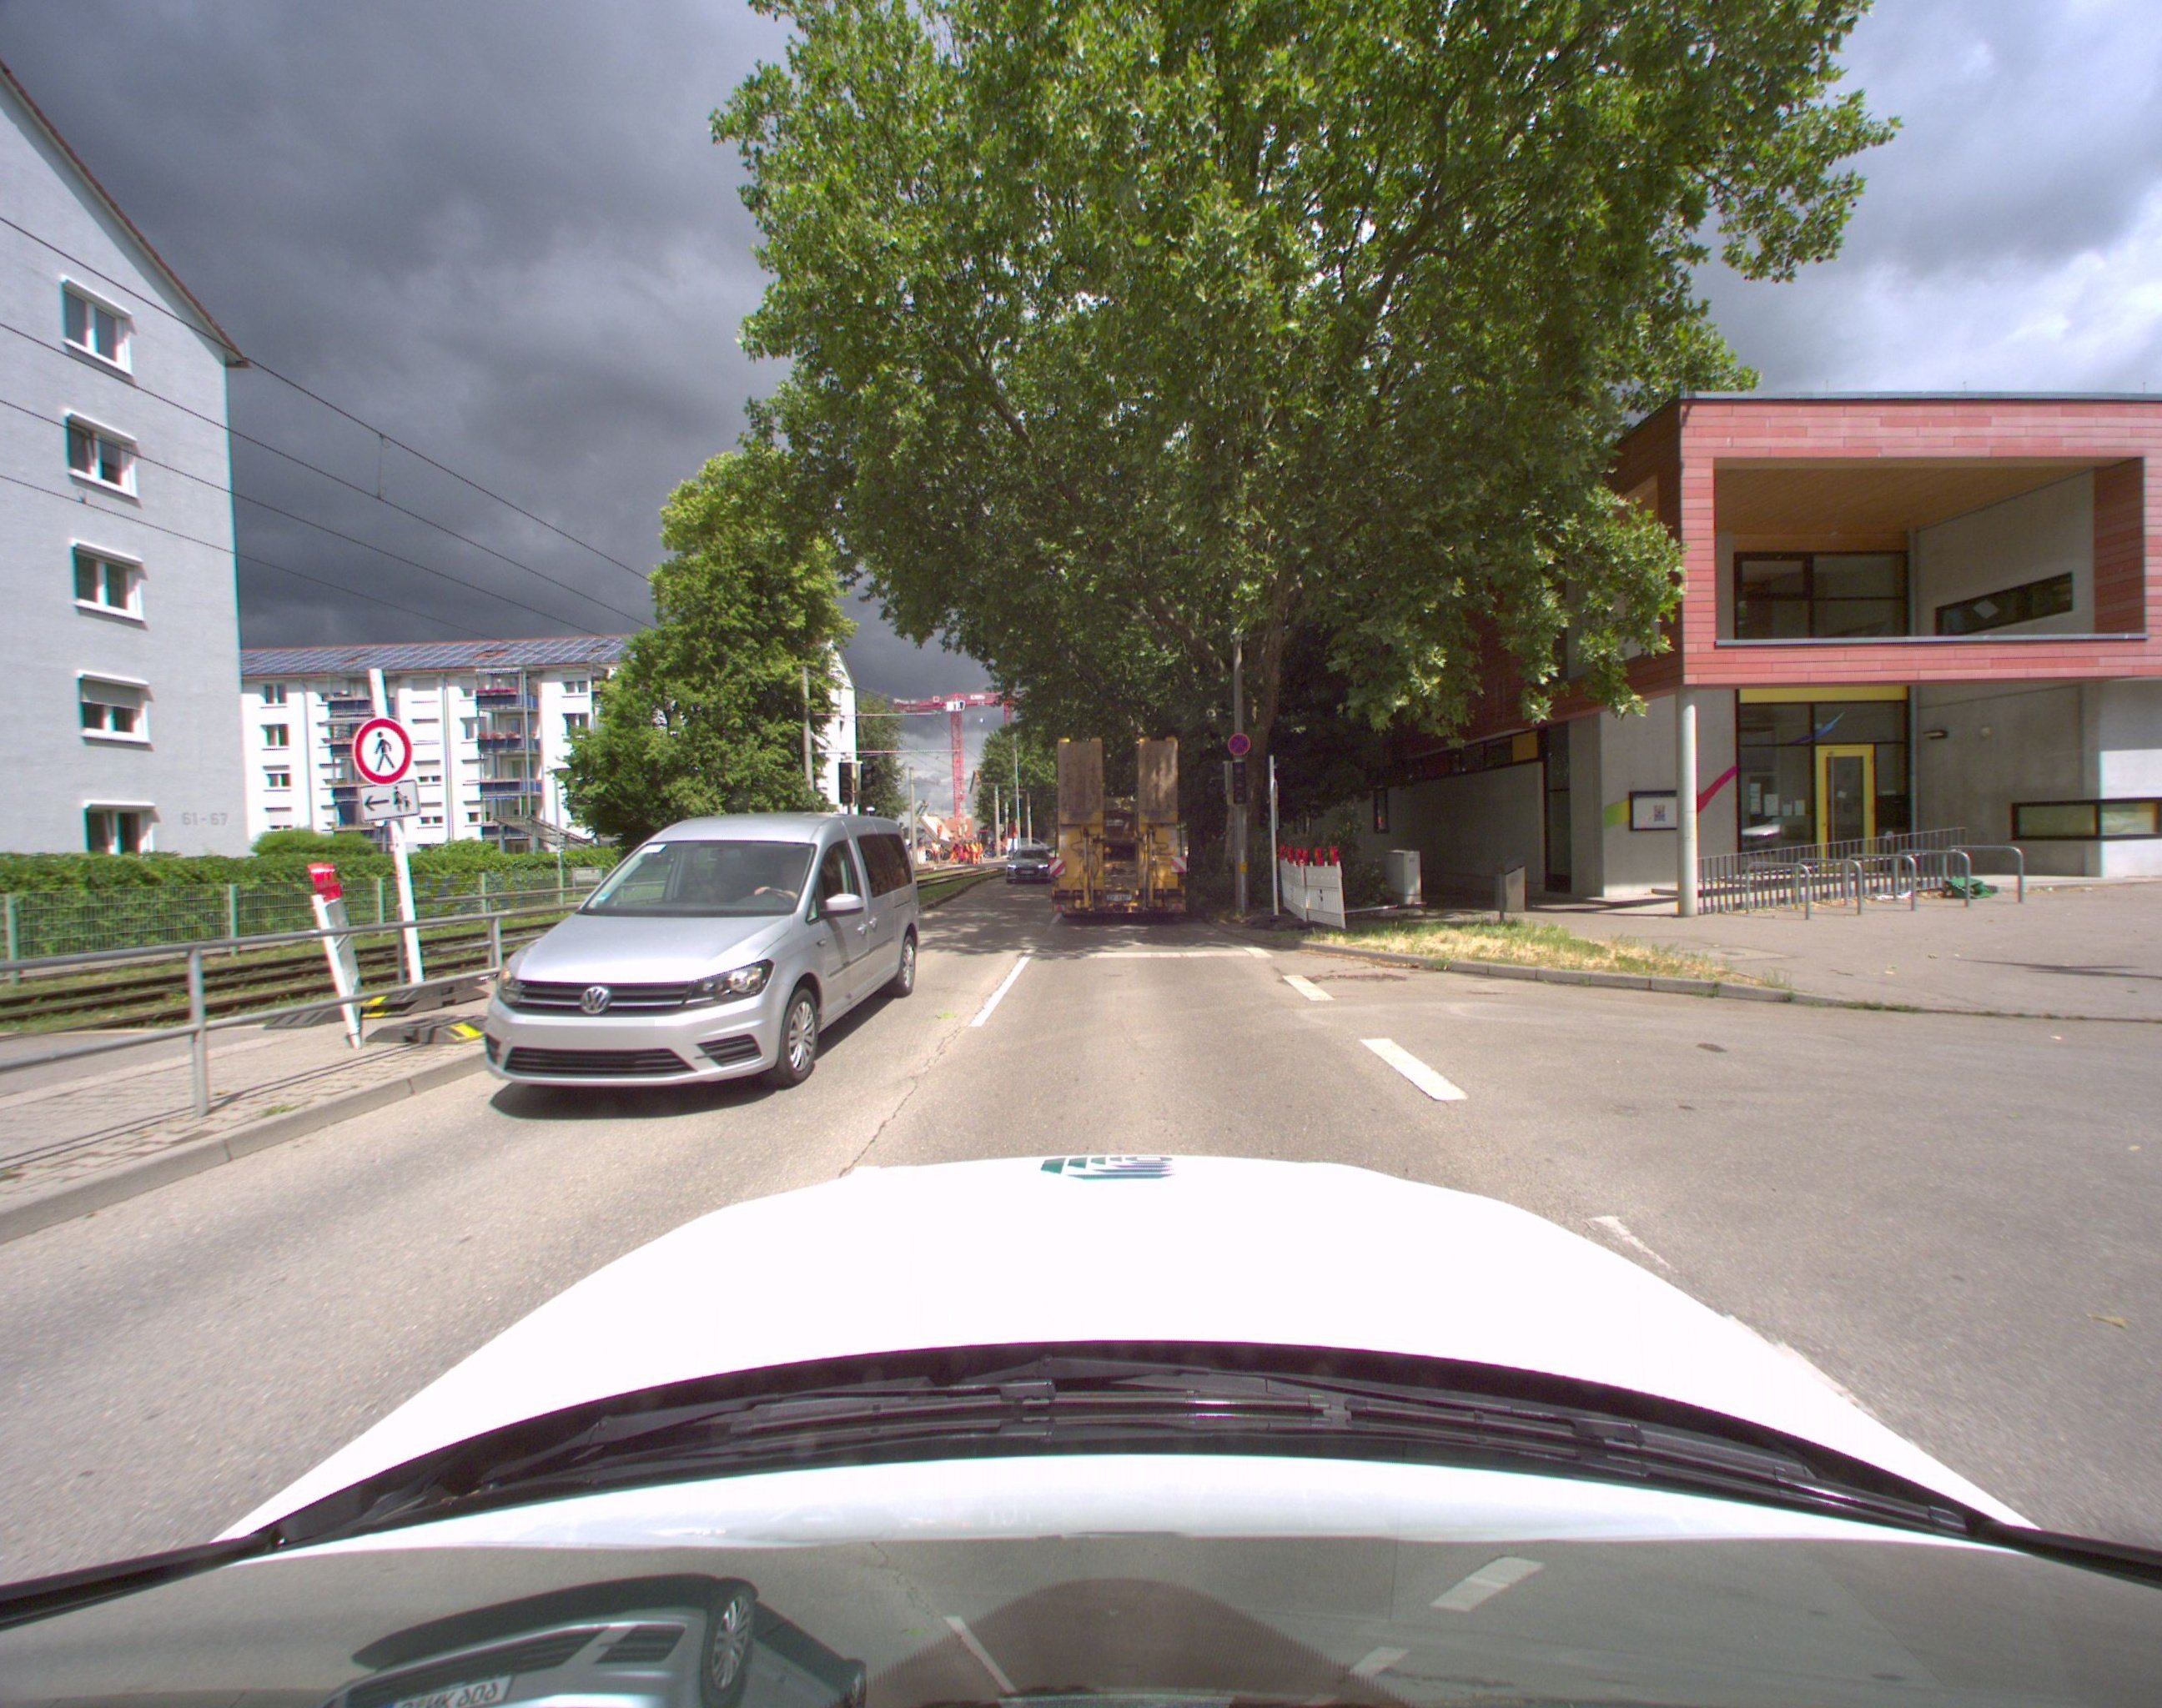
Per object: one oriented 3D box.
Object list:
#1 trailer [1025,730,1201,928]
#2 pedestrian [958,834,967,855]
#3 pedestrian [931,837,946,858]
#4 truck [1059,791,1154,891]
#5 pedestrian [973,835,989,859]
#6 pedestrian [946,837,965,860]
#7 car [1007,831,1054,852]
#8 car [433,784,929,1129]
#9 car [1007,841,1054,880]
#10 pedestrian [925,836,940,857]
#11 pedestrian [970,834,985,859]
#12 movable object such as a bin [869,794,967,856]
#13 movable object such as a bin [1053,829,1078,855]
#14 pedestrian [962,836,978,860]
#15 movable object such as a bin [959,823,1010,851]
[{"bbox_3d":[0.688,-0.522,20.370,3.143,3.552,11.099,-1,1,1],"label":"trailer"},{"bbox_3d":[-11.079,-0.885,76.053,0.834,1.867,0.885,-1,1,-10],"label":"pedestrian"},{"bbox_3d":[-11.169,-0.526,63.970,0.892,1.645,0.828,-1,1,-36],"label":"pedestrian"},{"bbox_3d":[0.871,-0.469,29.878,2.979,3.134,7.889,-1,1,1],"label":"truck"},{"bbox_3d":[-7.888,-0.536,64.235,0.877,1.867,0.842,-1,1,31],"label":"pedestrian"},{"bbox_3d":[-9.570,-0.408,62.269,1.117,1.715,0.877,-2,1,-42],"label":"pedestrian"},{"bbox_3d":[-5.709,-1.423,91.867,5.094,2.102,1.968,-3,1,-13],"label":"car"},{"bbox_3d":[-2.614,0.533,6.766,1.748,1.840,4.646,-1,1,0],"label":"car"},{"bbox_3d":[-2.026,0.221,33.622,1.630,1.434,3.851,-1,1,0],"label":"car"},{"bbox_3d":[-12.037,-0.598,66.067,0.891,1.645,0.891,-1,1,-29],"label":"pedestrian"},{"bbox_3d":[-7.824,-0.560,61.700,0.890,1.867,0.830,-1,1,-27],"label":"pedestrian"},{"bbox_3d":[-15.187,-2.591,75.447,9.115,5.414,2.680,-1,1,28],"label":"movable object such as a bin"},{"bbox_3d":[-1.215,-0.966,65.538,1.389,2.013,2.565,-1,1,13],"label":"movable object such as a bin"},{"bbox_3d":[-8.283,-0.452,60.746,0.878,1.760,0.841,-1,1,21],"label":"pedestrian"},{"bbox_3d":[-9.396,-1.639,79.188,4.325,2.629,2.234,-1,1,28],"label":"movable object such as a bin"}]
